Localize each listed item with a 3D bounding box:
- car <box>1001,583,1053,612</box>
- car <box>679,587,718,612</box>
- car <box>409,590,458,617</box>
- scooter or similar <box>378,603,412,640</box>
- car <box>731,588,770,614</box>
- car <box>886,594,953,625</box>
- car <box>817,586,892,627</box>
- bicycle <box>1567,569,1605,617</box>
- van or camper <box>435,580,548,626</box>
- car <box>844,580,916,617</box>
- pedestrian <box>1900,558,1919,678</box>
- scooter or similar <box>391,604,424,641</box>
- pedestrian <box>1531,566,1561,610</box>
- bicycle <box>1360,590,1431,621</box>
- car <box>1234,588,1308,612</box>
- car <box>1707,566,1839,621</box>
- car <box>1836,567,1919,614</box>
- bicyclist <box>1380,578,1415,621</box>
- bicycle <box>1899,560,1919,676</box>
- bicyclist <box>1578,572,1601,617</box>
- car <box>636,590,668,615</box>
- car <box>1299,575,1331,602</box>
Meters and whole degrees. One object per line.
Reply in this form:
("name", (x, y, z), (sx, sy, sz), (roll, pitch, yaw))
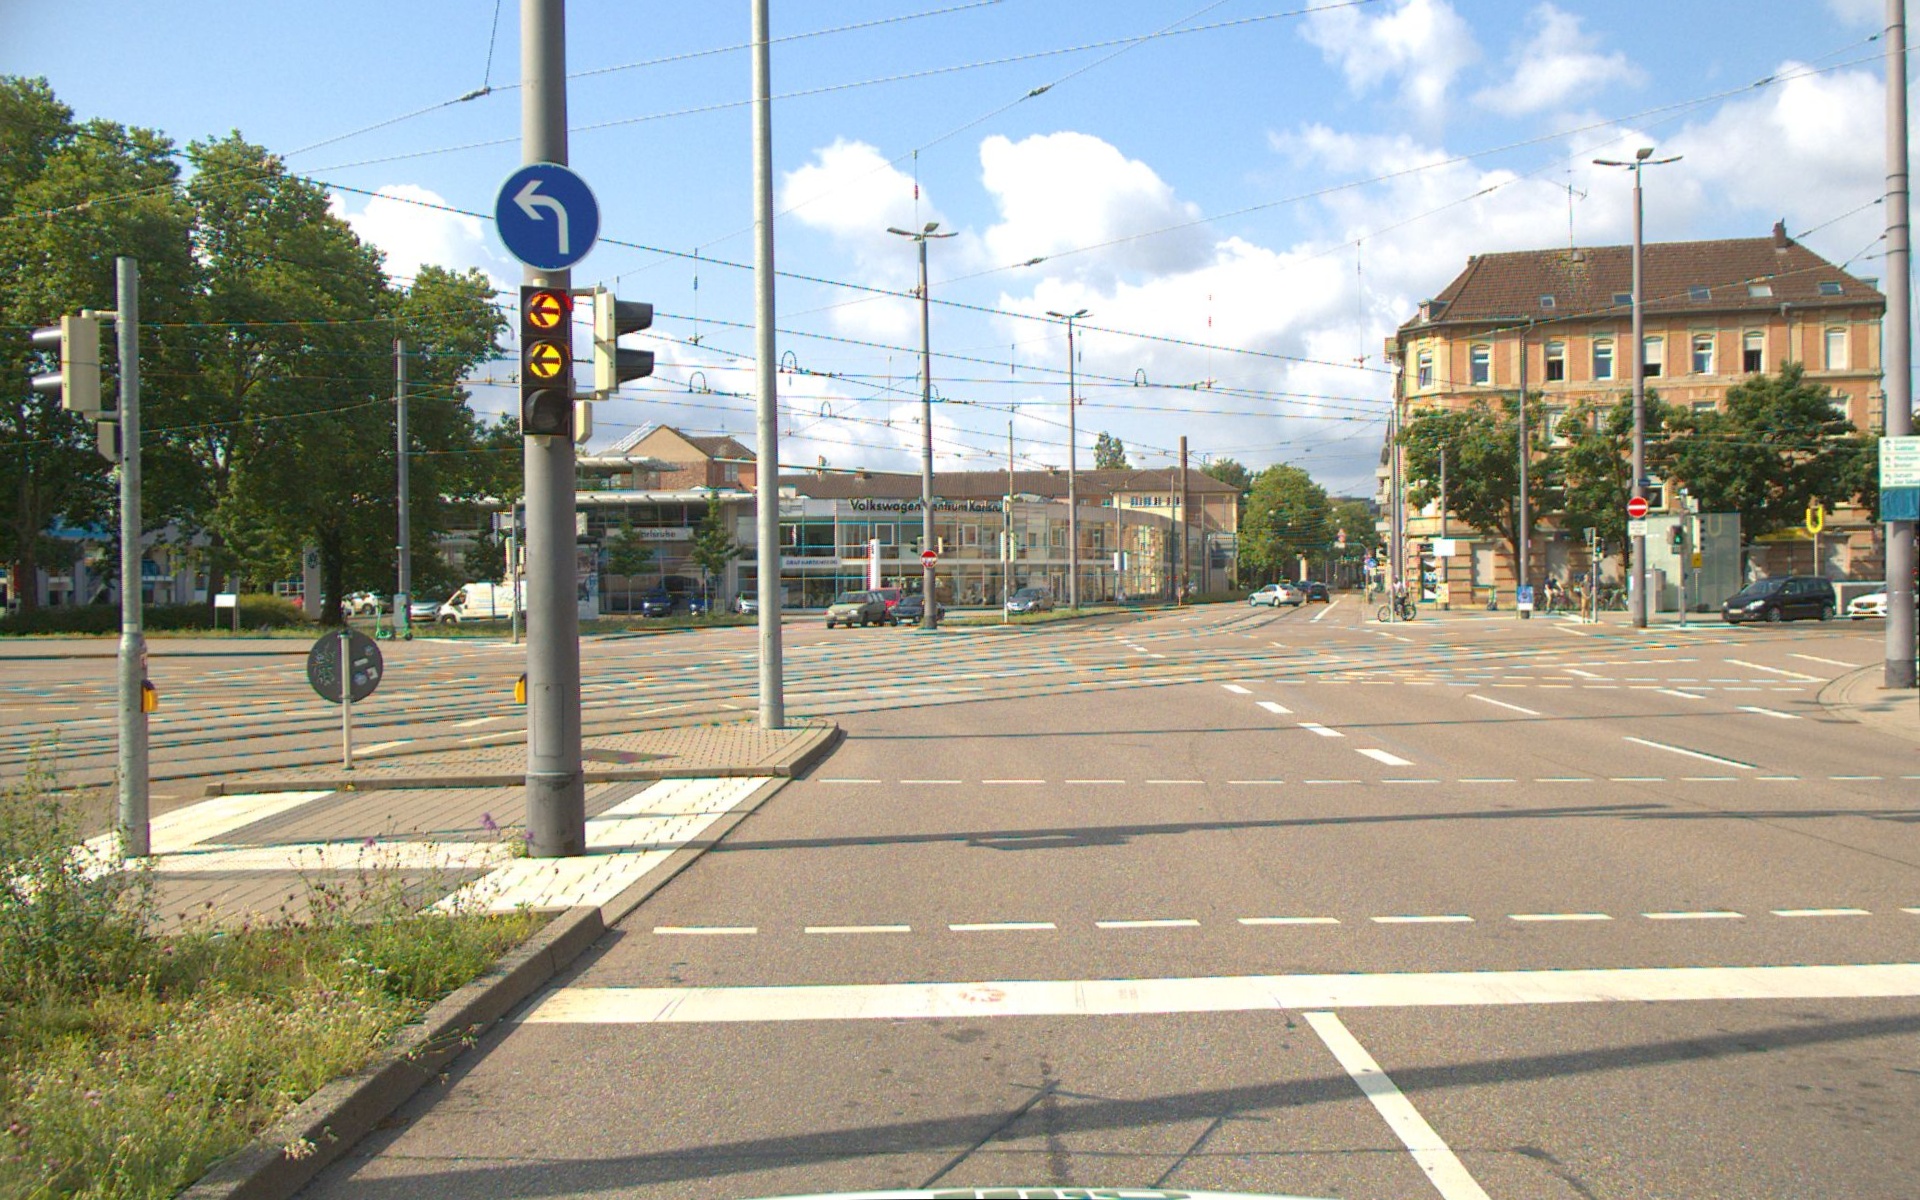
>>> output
("car", (3.809, -0.142, 93.290), (1.952, 1.579, 4.002), (-1, 0, 18))
("car", (-16.119, -0.041, 101.973), (1.881, 1.470, 3.999), (-1, 0, -2))
("car", (-32.784, 0.224, 103.007), (2.027, 1.632, 3.996), (-1, 0, -5))
("scooter or similar", (-18.775, 0.727, 54.947), (0.375, 1.177, 0.923), (5, 1, 45))
("car", (-13.156, 0.042, 104.075), (1.880, 1.579, 4.000), (-1, 0, 1))
("car", (-1.560, 0.369, 65.613), (1.587, 1.182, 4.003), (1, 0, 15))
("car", (-4.180, 0.261, 65.975), (1.782, 1.539, 4.003), (1, 0, 15))
("bicycle", (23.803, -0.266, 62.896), (0.715, 1.808, 1.636), (-1, 0, -4))
("van or camper", (-26.979, 0.177, 95.318), (5.754, 2.512, 2.394), (1, 0, 3))
("car", (-3.430, -0.058, 71.527), (1.951, 1.545, 4.003), (1, 0, 15))
("pedestrian", (15.504, 0.290, 26.180), (0.972, 1.873, 0.995), (1, -1, 25))
("scooter or similar", (-18.261, 0.735, 54.676), (0.374, 1.177, 0.927), (5, 1, 33))
("pedestrian", (24.647, -0.494, 69.555), (0.850, 1.841, 0.884), (1, -1, -13))
("bicycle", (17.613, 0.217, 66.924), (2.618, 1.191, 0.900), (-1, 0, -4))
("car", (20.146, -0.019, 107.216), (4.401, 1.490, 1.771), (1, 0, 42))
("car", (28.013, -0.207, 56.966), (4.277, 1.770, 1.982), (1, 0, -28))
("car", (34.105, -0.367, 59.904), (4.616, 1.623, 1.982), (-2, 1, -28))
("bicyclist", (17.704, -0.026, 66.920), (1.170, 1.687, 0.785), (-1, 0, -4))
("bicycle", (15.539, 0.295, 26.109), (0.985, 1.755, 2.467), (1, 0, 24))
("bicyclist", (23.814, -0.204, 62.545), (0.561, 1.700, 0.655), (-1, 0, -4))
("car", (-19.047, 0.126, 102.208), (1.885, 1.470, 3.990), (-1, 0, -10))
("car", (26.921, -0.878, 125.317), (1.951, 2.049, 4.002), (-1, 0, 17))
